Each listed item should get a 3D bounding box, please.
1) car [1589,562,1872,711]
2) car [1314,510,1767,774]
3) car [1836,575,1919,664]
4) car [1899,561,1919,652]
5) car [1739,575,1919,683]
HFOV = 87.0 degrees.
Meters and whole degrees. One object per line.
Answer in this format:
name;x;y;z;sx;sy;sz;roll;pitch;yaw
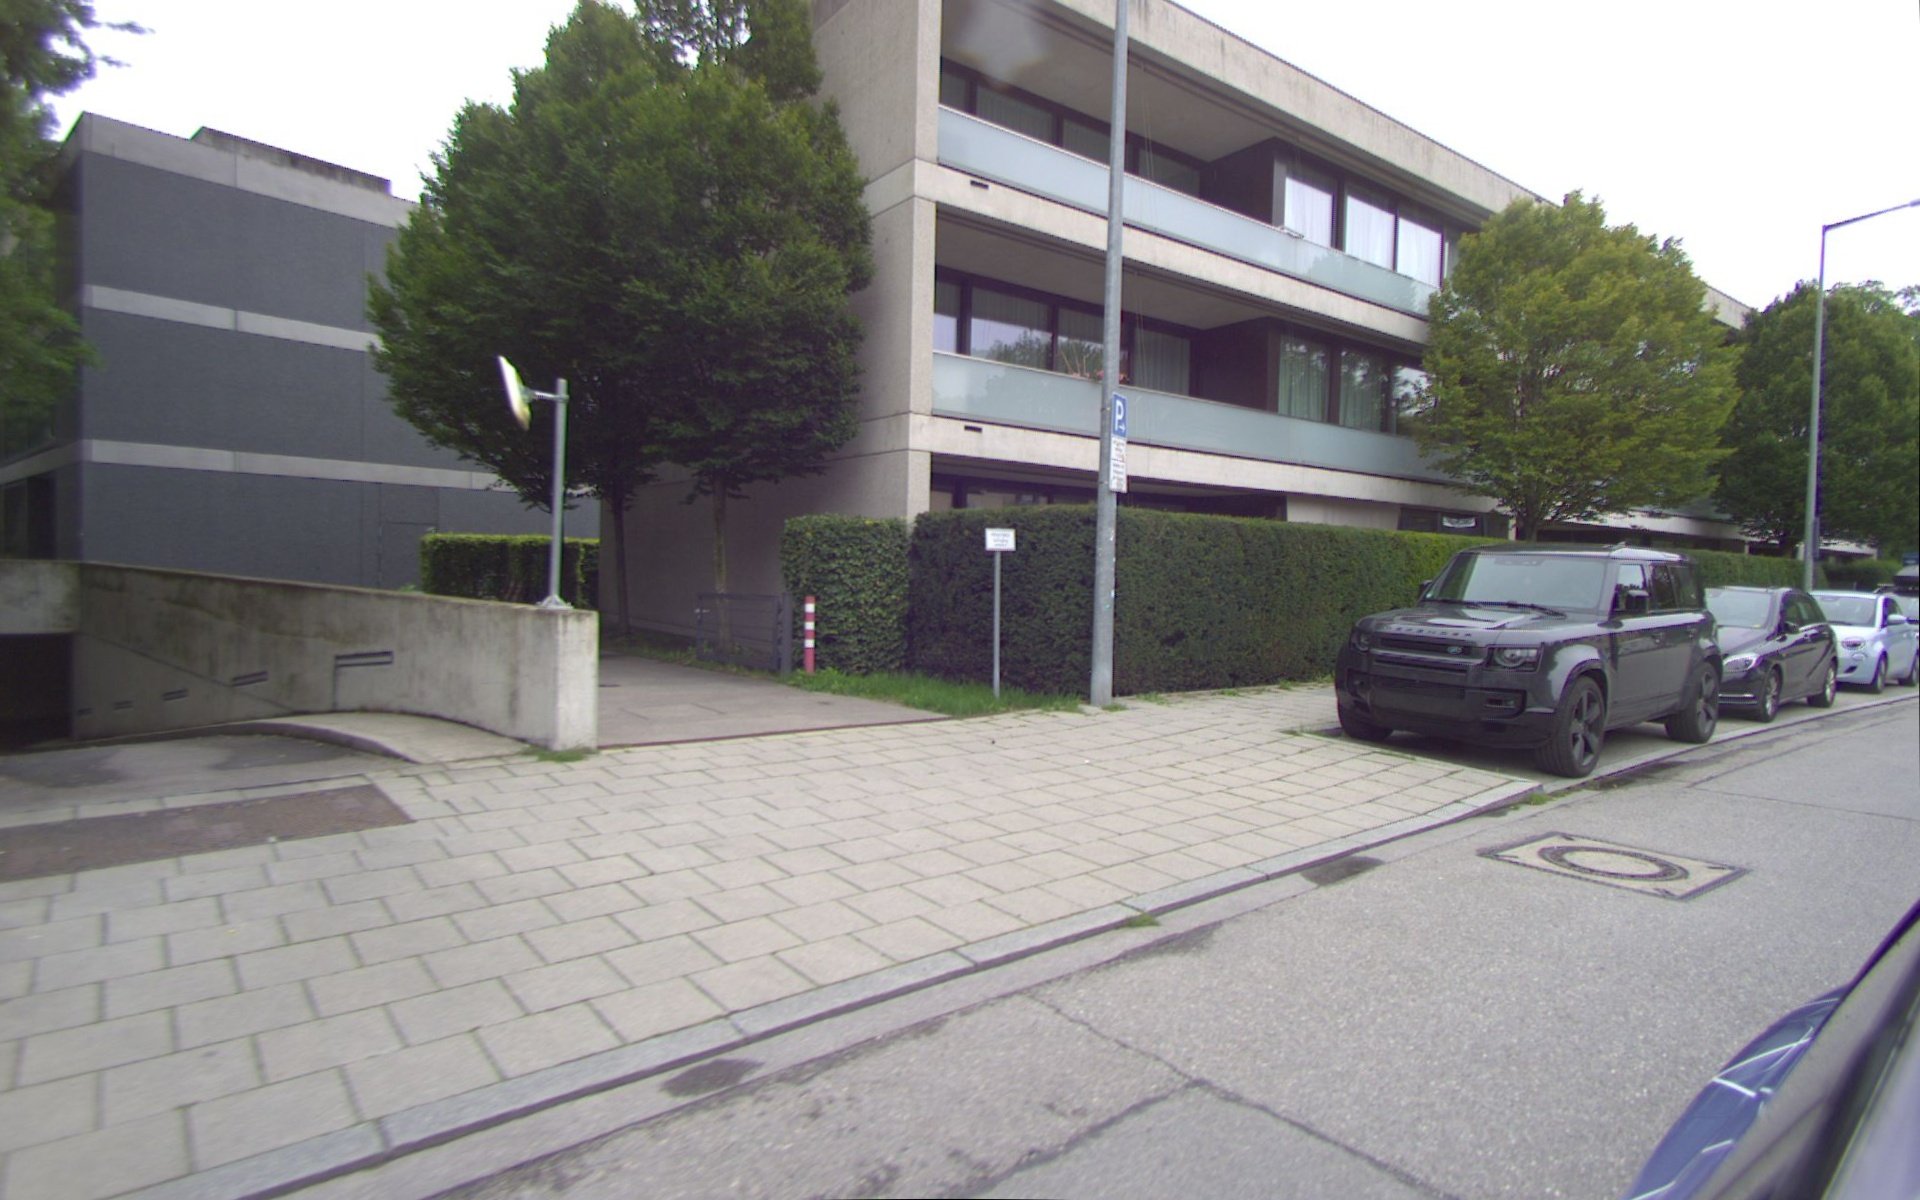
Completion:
car;9.842;0.361;12.799;4.486;1.558;1.753;0;2;-38
car;5.662;0.227;9.586;4.985;1.894;1.993;-1;2;-38
car;18.061;0.341;18.742;4.511;1.499;1.754;0;1;-36
car;22.129;0.156;21.749;4.803;1.884;1.829;0;1;-34
car;14.275;0.398;16.256;3.815;1.498;1.754;0;2;-36
